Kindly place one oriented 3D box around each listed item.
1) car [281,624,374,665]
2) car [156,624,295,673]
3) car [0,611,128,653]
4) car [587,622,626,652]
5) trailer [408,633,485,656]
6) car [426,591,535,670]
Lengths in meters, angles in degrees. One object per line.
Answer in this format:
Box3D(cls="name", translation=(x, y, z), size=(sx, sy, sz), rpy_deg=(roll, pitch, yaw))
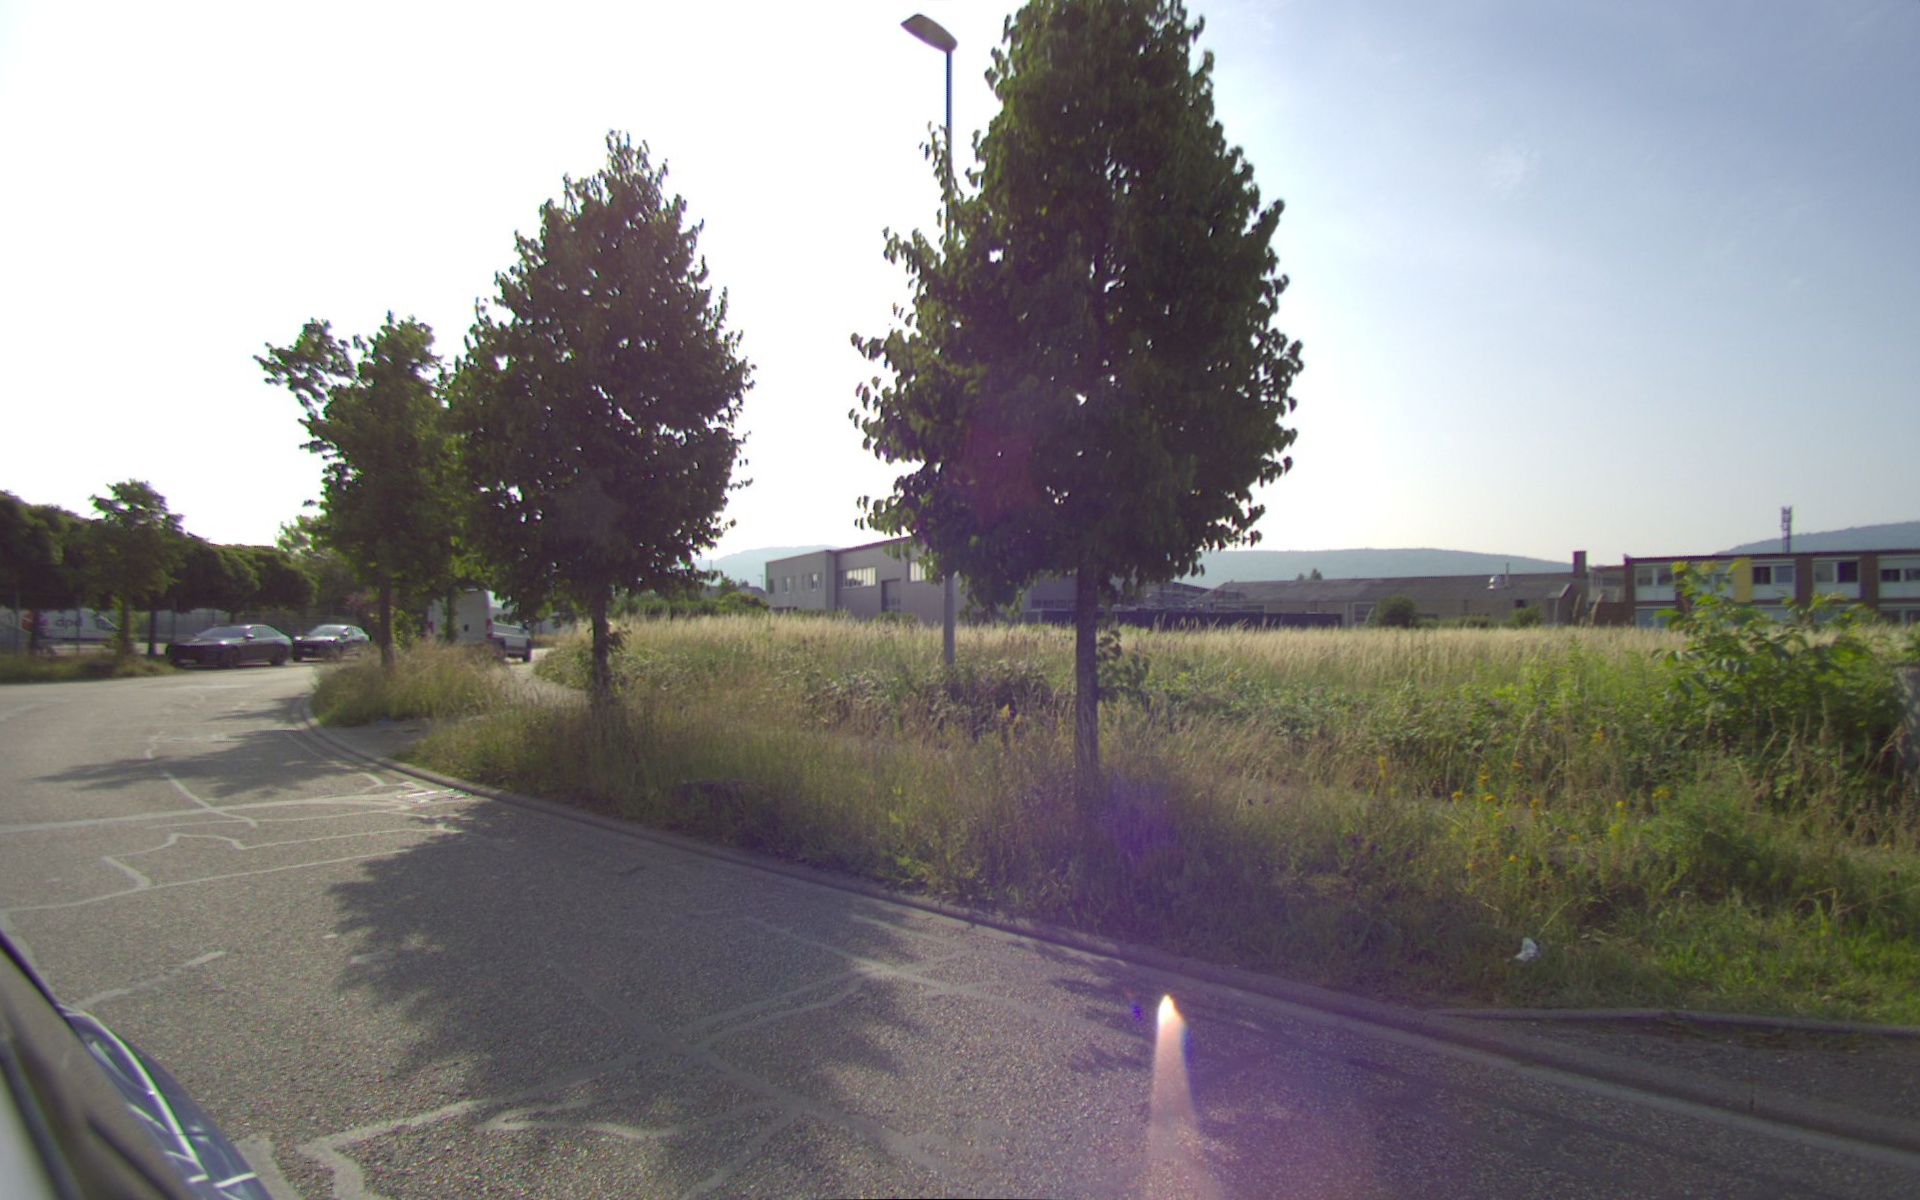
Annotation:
Box3D(cls="car", translation=(-27.170, 1.887, 43.661), size=(1.857, 1.586, 4.121), rpy_deg=(3, -2, -8))
Box3D(cls="car", translation=(-26.197, 1.667, 36.351), size=(1.857, 1.586, 5.127), rpy_deg=(2, -1, -8))
Box3D(cls="car", translation=(-59.130, 2.111, 66.765), size=(2.211, 2.669, 6.189), rpy_deg=(-2, -2, 40))
Box3D(cls="car", translation=(-21.223, 2.218, 60.819), size=(1.577, 1.663, 3.651), rpy_deg=(-1, -2, -9))
Box3D(cls="trailer", translation=(-30.173, 2.575, 59.723), size=(1.913, 1.245, 7.466), rpy_deg=(2, -2, -10))
Box3D(cls="car", translation=(-17.181, 1.102, 36.674), size=(2.074, 2.615, 6.518), rpy_deg=(0, -2, -12))
